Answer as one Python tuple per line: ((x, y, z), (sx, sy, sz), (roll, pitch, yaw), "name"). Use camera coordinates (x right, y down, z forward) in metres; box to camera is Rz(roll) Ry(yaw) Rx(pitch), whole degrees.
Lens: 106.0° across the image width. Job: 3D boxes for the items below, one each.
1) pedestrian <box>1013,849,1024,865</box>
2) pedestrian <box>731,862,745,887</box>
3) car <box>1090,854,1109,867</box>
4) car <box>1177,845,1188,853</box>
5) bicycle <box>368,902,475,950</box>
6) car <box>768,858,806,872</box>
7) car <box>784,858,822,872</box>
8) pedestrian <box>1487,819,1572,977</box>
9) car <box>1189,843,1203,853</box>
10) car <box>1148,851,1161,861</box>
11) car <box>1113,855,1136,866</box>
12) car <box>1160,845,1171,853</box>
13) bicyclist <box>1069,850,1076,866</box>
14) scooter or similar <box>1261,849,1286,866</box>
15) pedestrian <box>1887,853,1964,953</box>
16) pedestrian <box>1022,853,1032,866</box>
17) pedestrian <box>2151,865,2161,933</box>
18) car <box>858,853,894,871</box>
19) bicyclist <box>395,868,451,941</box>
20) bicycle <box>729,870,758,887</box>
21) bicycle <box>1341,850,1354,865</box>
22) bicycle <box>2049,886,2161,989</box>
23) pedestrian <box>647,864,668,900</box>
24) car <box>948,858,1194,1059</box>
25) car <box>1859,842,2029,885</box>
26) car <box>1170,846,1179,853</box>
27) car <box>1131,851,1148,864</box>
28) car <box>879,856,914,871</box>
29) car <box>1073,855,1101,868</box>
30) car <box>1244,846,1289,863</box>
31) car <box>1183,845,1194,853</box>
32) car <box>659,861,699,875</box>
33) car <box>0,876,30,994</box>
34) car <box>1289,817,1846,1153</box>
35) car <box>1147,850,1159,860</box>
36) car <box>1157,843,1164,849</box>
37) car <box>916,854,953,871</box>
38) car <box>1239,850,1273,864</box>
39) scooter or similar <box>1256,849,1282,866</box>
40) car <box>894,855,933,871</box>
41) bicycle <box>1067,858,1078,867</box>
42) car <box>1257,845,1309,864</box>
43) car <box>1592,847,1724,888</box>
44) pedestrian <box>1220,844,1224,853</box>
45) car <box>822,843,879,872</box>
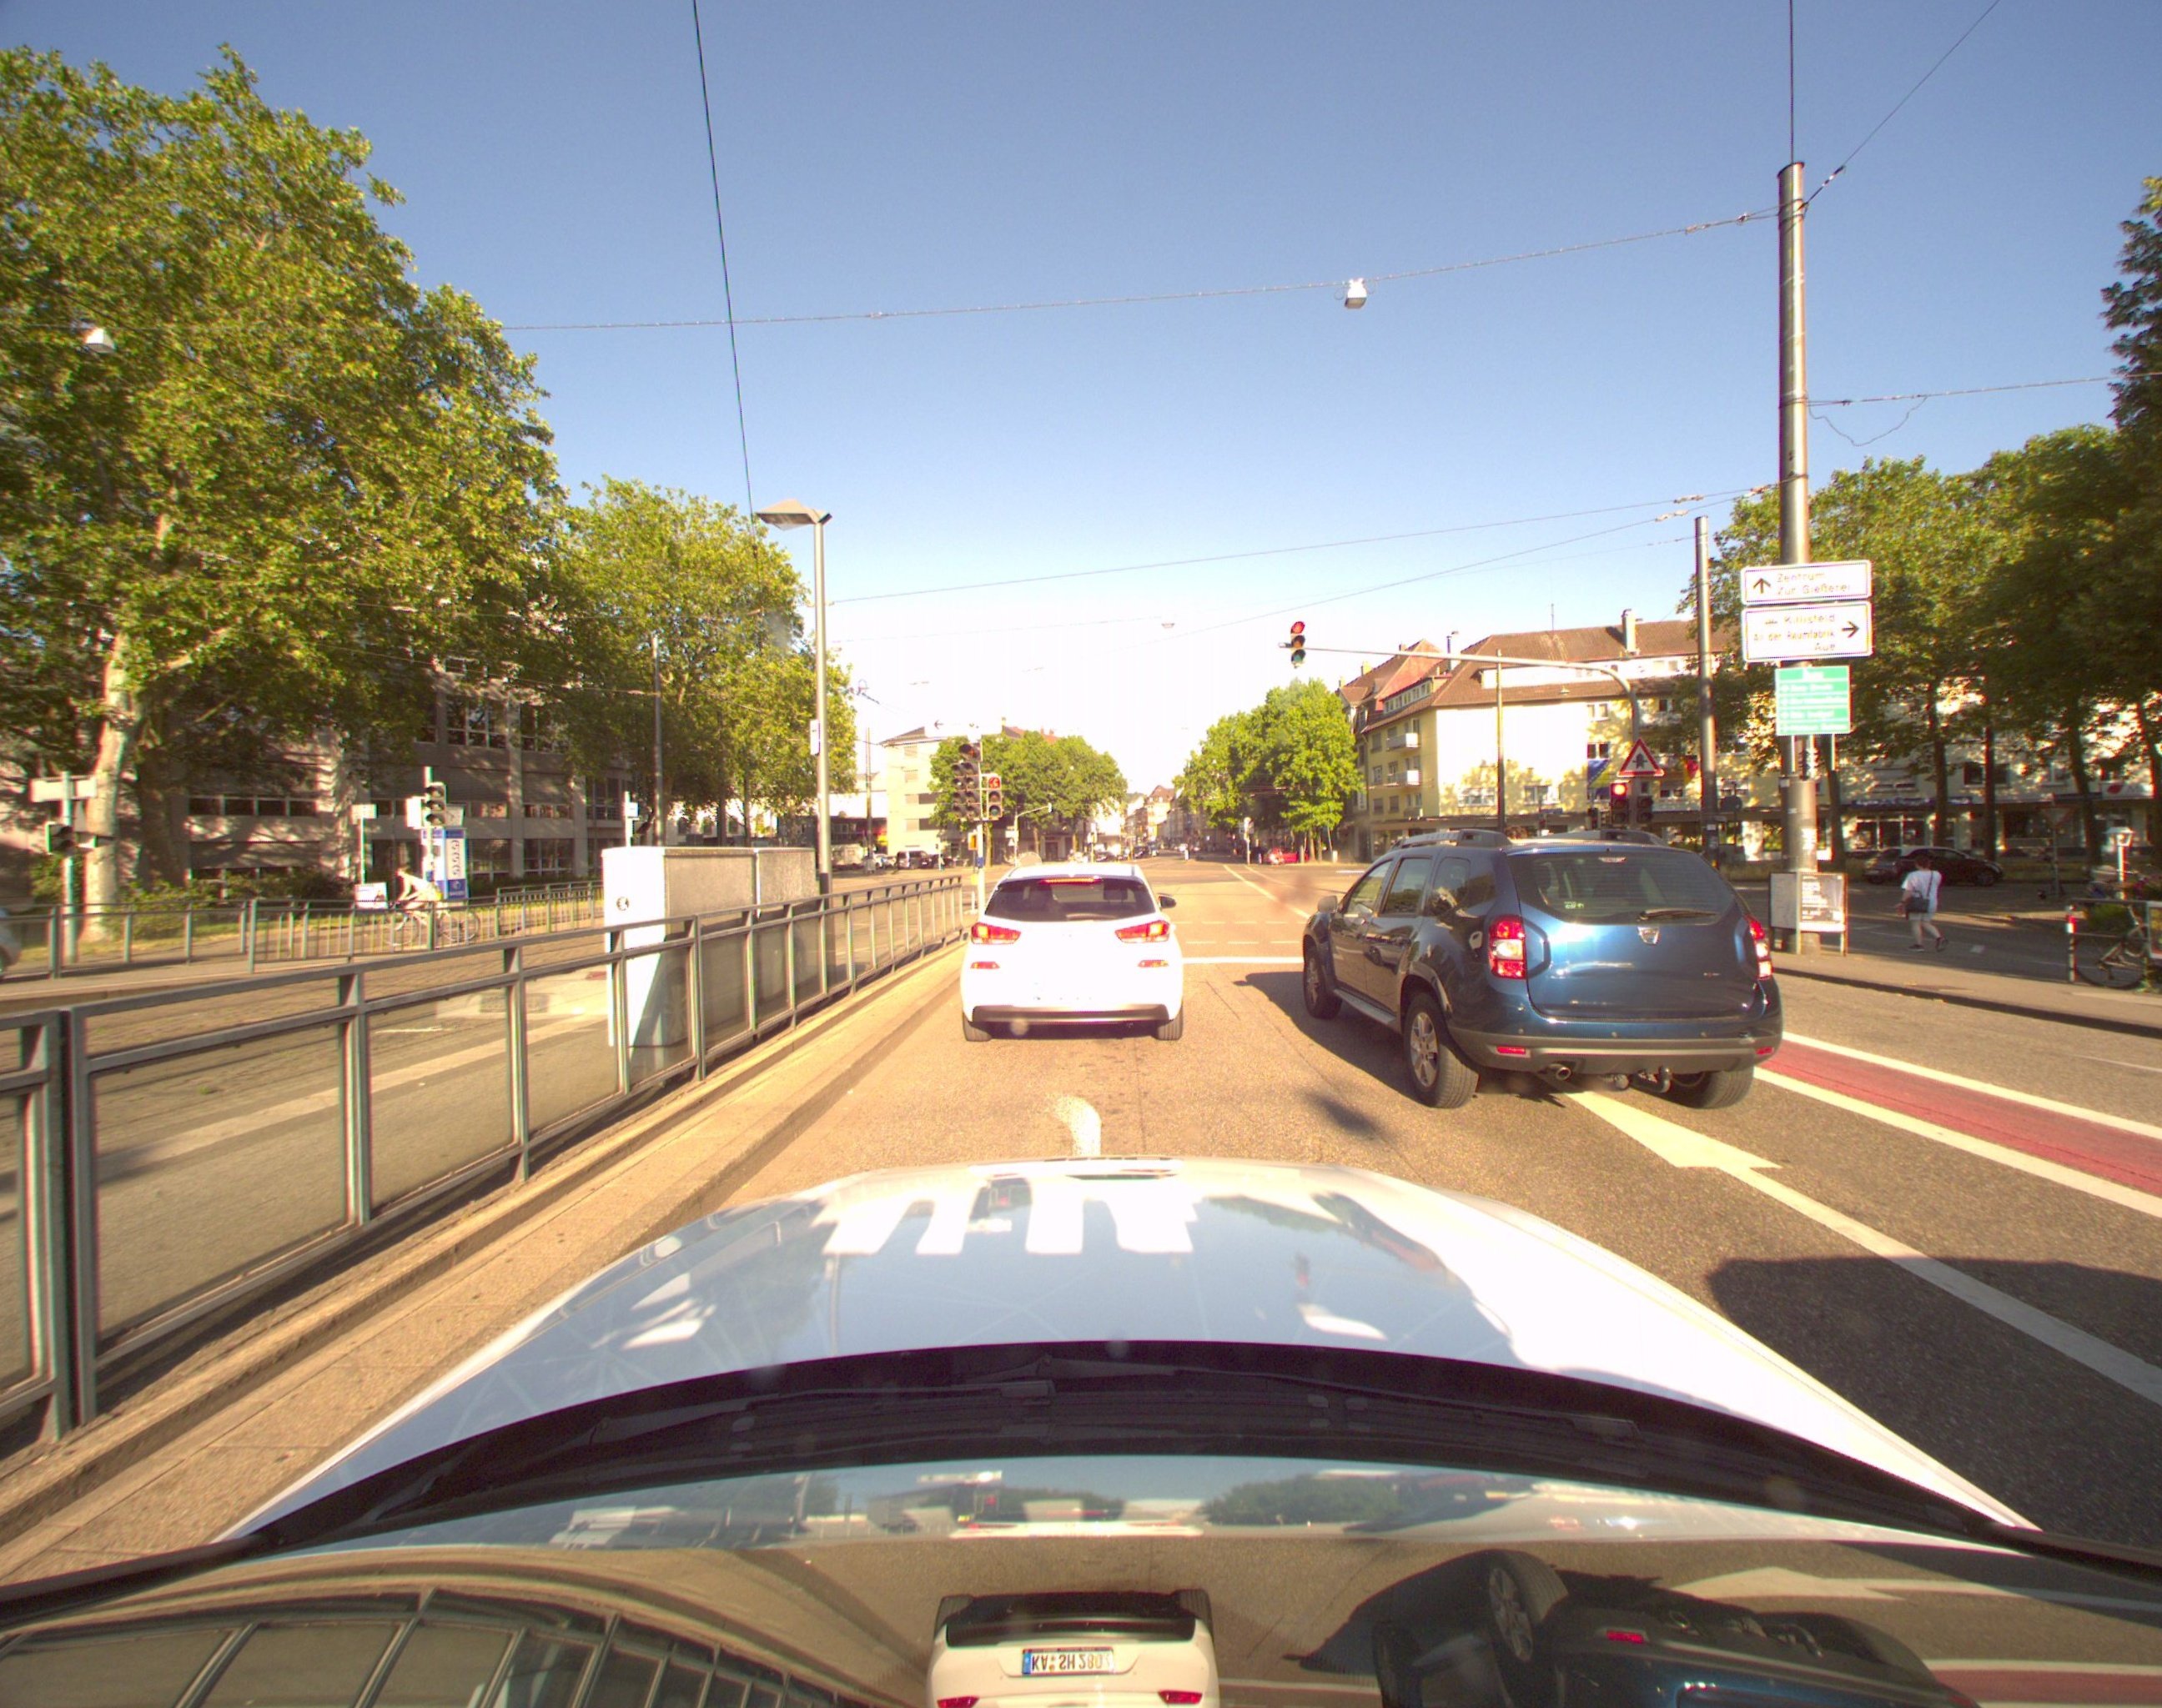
((-6.770, 0.328, 87.974), (0.828, 1.771, 0.787), (-1, 0, 27), "pedestrian")
((-23.268, 1.407, 55.270), (0.645, 1.661, 0.651), (-1, 0, 4), "pedestrian")
((2.363, 0.826, 100.651), (1.784, 1.510, 4.010), (-2, -1, 9), "car")
((20.492, -0.934, 164.723), (1.787, 1.510, 4.002), (-1, 0, 2), "car")
((-13.296, 1.435, 16.483), (1.623, 0.816, 0.522), (-1, 0, -34), "bicycle")
((-34.715, 1.324, 96.301), (1.778, 1.510, 4.023), (-1, 0, 26), "car")
((-32.368, 1.292, 94.871), (1.778, 1.510, 4.023), (-1, 0, 26), "car")
((5.511, 0.521, 10.038), (0.654, 1.871, 0.678), (-1, 0, 1), "pedestrian")
((21.418, -1.056, 152.170), (2.097, 1.776, 4.343), (-1, 0, 2), "car")
((11.775, 0.298, 130.601), (1.788, 1.510, 4.001), (-1, 0, 1), "car")
((5.836, 0.855, 108.687), (1.779, 1.510, 4.021), (-2, -1, 21), "car")
((21.692, -1.274, 208.988), (2.318, 2.013, 4.978), (-1, 0, 2), "car")
((-0.947, 0.416, 90.435), (0.463, 1.745, 0.721), (-1, 0, 25), "bicyclist")
((15.182, 0.278, 64.265), (1.926, 1.280, 0.557), (-1, 0, 43), "scooter or similar")
((13.733, 0.780, 13.267), (0.642, 1.563, 0.635), (1, 0, 21), "pedestrian")
((-5.960, 0.590, 89.856), (0.795, 1.484, 0.867), (-1, 0, 28), "pedestrian")
((21.698, 0.900, 15.938), (0.645, 1.338, 0.632), (1, 0, 2), "pedestrian")
((-22.652, 0.882, 90.149), (1.779, 1.955, 4.021), (-1, 0, 21), "car")
((-13.303, 0.995, 16.484), (0.806, 1.414, 0.522), (-1, 0, -33), "bicyclist")
((-23.080, 1.679, 55.743), (1.786, 1.107, 0.501), (-1, 0, 4), "bicycle")
((20.779, 0.277, 63.483), (0.606, 1.107, 1.803), (-1, 0, 6), "bicycle")
((11.819, 0.912, 8.845), (0.496, 1.075, 1.801), (0, -1, 2), "bicycle")
((-18.689, 1.243, 35.967), (0.533, 1.552, 0.677), (-1, 0, 1), "pedestrian")
((-0.021, 0.777, 7.987), (1.801, 1.452, 4.001), (-1, 0, 1), "car")
((31.448, 0.338, 29.789), (3.960, 1.510, 1.806), (-1, 1, 12), "car")
((21.104, -0.983, 183.961), (1.787, 1.522, 4.002), (-1, 0, 2), "car")
((8.376, 0.458, 116.062), (1.782, 1.826, 4.014), (-1, 0, 12), "car")
((-20.190, 1.036, 89.181), (1.779, 1.510, 4.031), (-1, 0, 21), "car")
((0.757, 0.843, 94.762), (1.707, 1.510, 3.899), (-2, -1, 27), "car")
((18.206, 0.043, 79.997), (3.979, 1.510, 1.797), (-1, 0, -4), "car")
((20.950, -0.919, 158.545), (1.787, 1.510, 4.002), (-1, 0, 2), "car")
((-44.698, 1.557, 90.599), (3.952, 1.510, 1.810), (-1, 0, 23), "car")
((-16.479, 1.171, 9.961), (1.809, 1.692, 4.161), (0, 0, 1), "car")
((2.922, 0.644, 6.055), (1.793, 1.638, 4.046), (-1, 0, 1), "car")
((12.235, 0.149, 138.586), (1.788, 1.510, 4.001), (-1, 0, 1), "car")
((20.923, -2.099, 214.484), (1.787, 1.510, 4.002), (-1, 0, 2), "car")
((-15.490, 0.878, 86.330), (1.904, 1.649, 4.203), (-1, 0, 23), "car")
((20.259, 0.317, 94.174), (4.021, 1.510, 1.779), (-1, 0, -40), "car")
((14.698, 0.273, 63.727), (1.926, 1.280, 0.557), (-1, 0, 43), "scooter or similar")
((-17.909, 0.940, 87.102), (1.777, 1.649, 4.035), (-1, 0, 31), "car")
((-0.937, 0.995, 90.430), (0.463, 0.956, 1.777), (-1, 0, 25), "bicycle")
((17.186, 0.079, 69.378), (3.983, 1.510, 1.796), (-1, 0, -7), "car")
((21.688, 0.483, 30.670), (4.032, 1.438, 1.800), (0, 1, -10), "car")
((24.914, -0.967, 143.448), (0.643, 1.651, 0.652), (0, -1, 12), "pedestrian")
((-25.746, 0.359, 91.231), (2.473, 3.165, 6.573), (-1, 0, 25), "car")
